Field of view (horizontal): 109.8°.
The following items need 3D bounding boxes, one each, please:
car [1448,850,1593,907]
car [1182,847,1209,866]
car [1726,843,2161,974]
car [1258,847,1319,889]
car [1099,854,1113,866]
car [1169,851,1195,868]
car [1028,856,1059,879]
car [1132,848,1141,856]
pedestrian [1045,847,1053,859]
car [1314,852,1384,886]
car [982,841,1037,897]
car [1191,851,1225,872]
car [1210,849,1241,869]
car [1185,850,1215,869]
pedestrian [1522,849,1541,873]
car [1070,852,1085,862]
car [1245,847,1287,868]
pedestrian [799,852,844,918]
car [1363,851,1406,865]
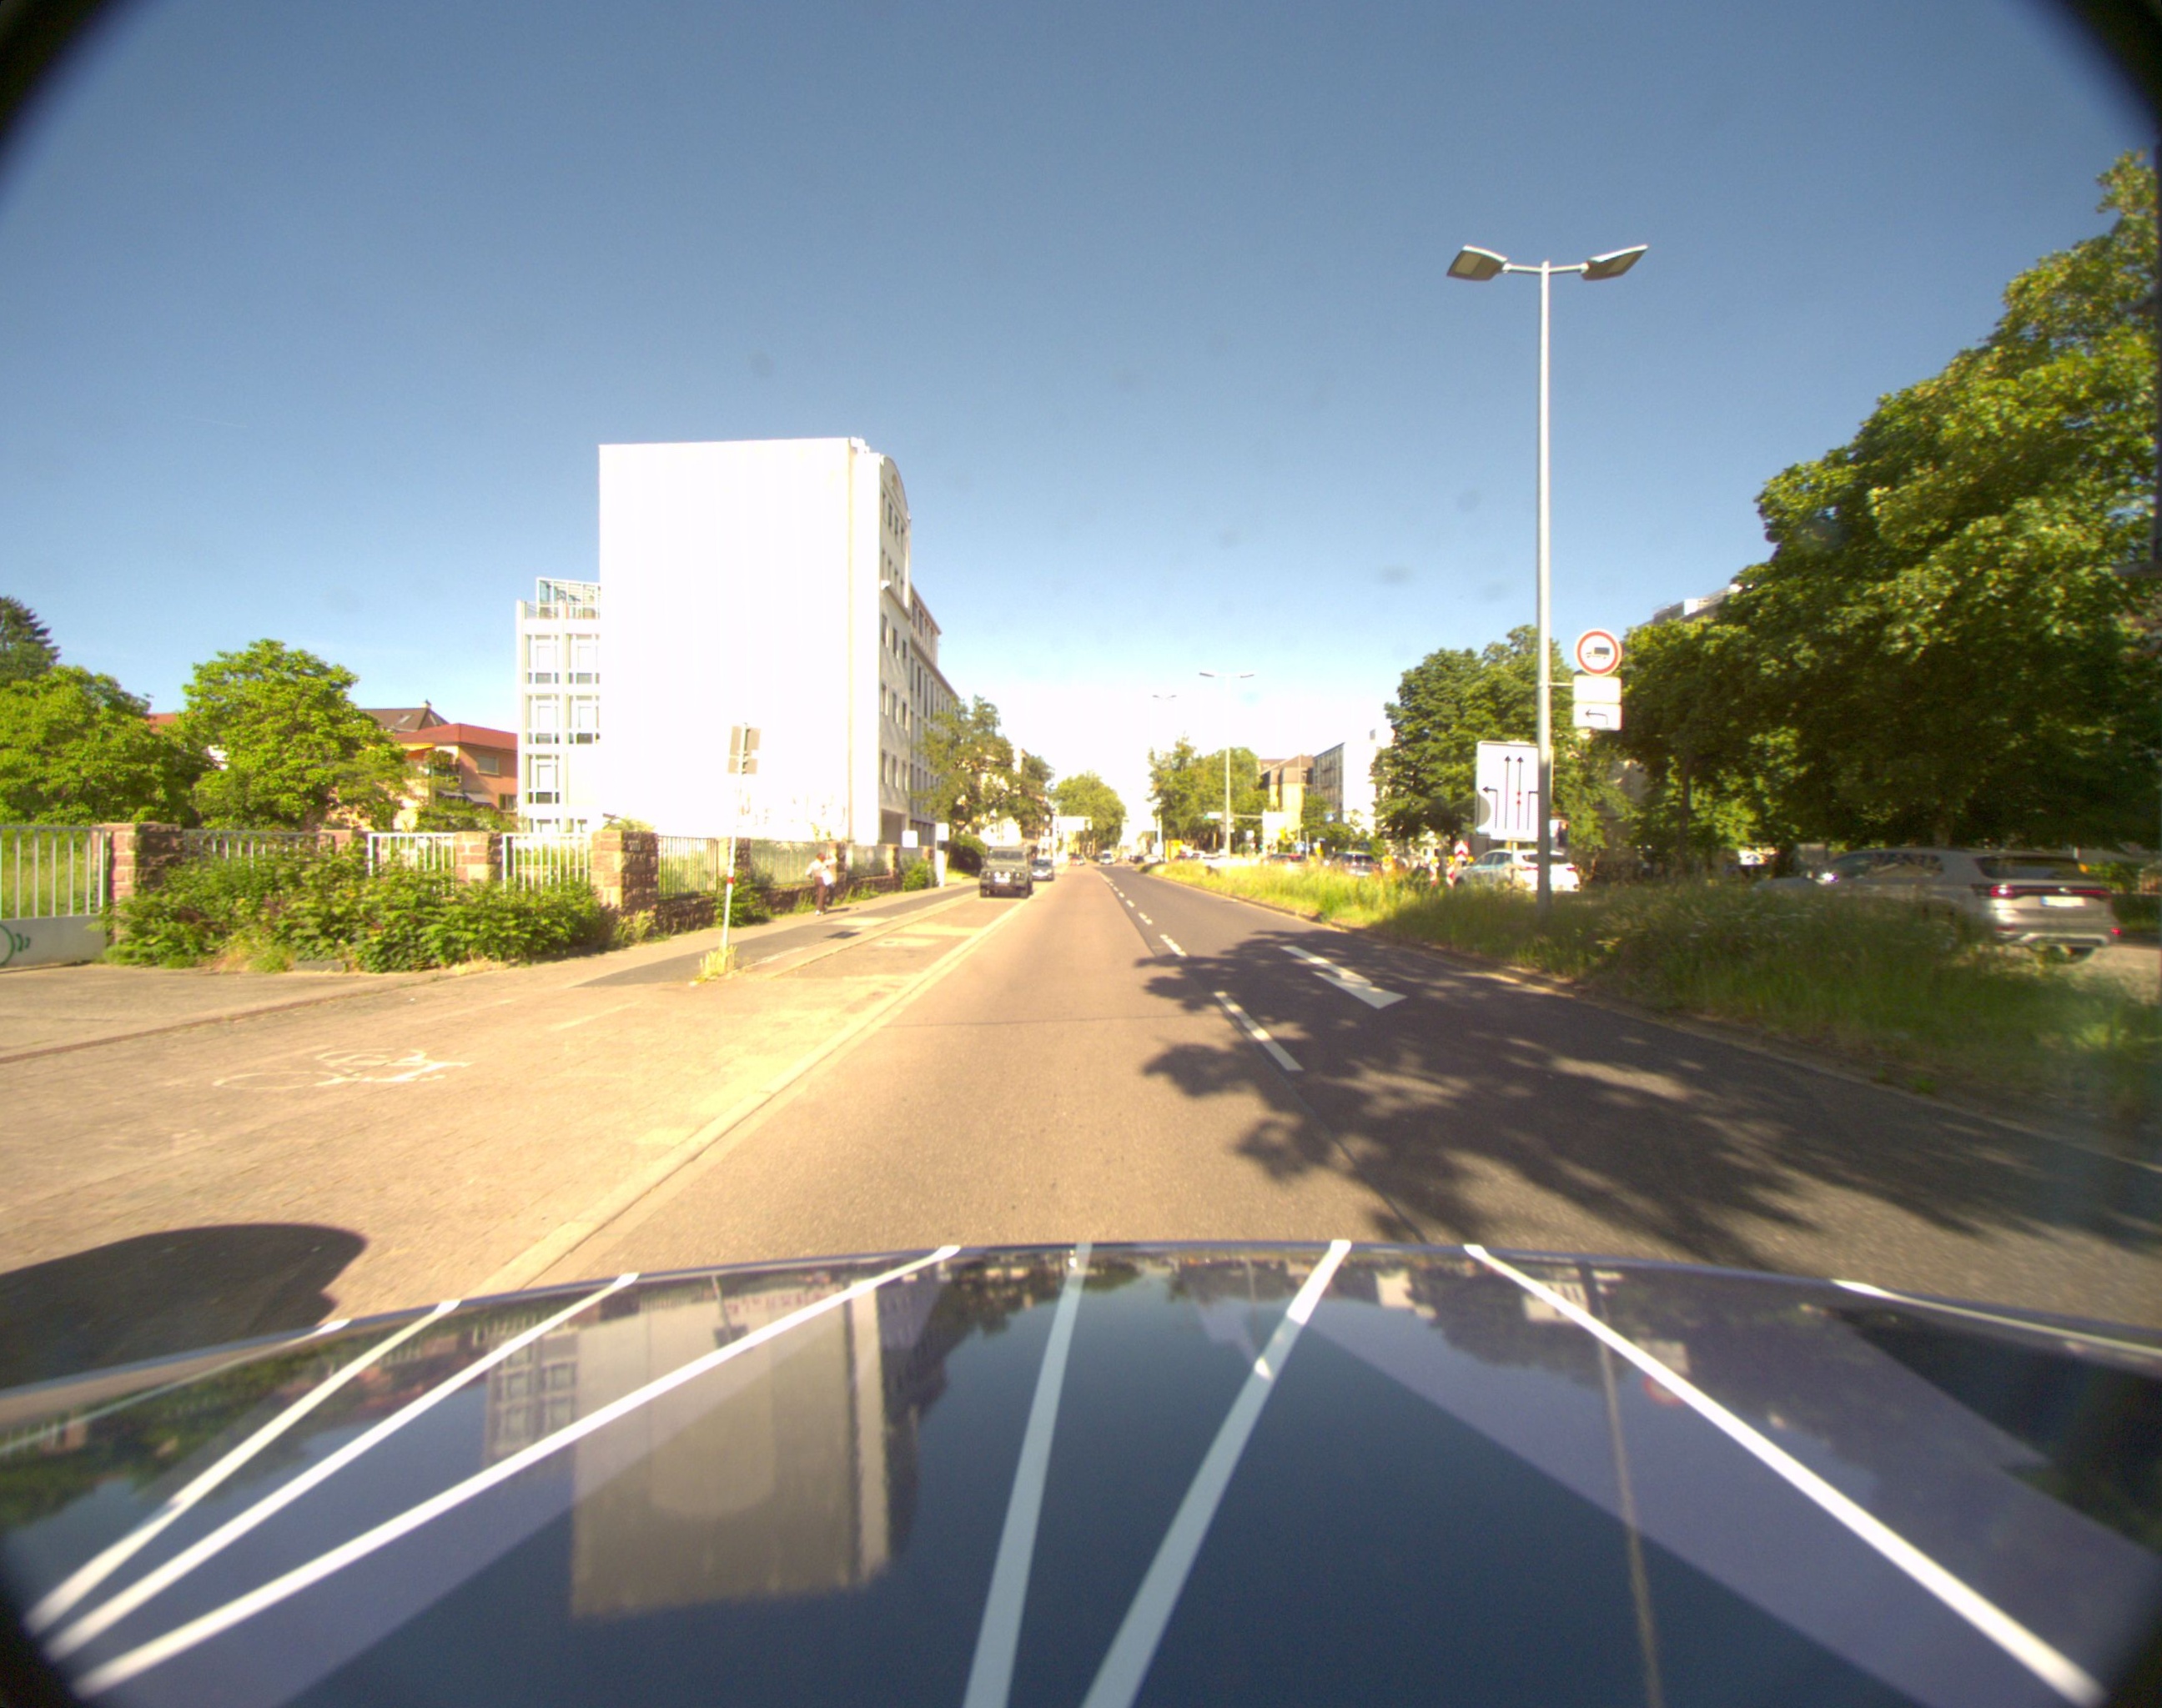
[{"bbox_3d":[12.769,0.634,22.435,1.800,1.510,4.257,0,1,0],"label":"car"},{"bbox_3d":[12.598,0.281,84.169,2.239,2.016,5.016,0,1,0],"label":"car"},{"bbox_3d":[12.515,0.650,11.574,1.800,1.510,4.257,-1,2,1],"label":"car"},{"bbox_3d":[9.665,0.590,35.698,1.757,1.609,4.321,-1,3,1],"label":"car"},{"bbox_3d":[4.008,0.959,120.508,1.882,1.511,4.000,-1,3,8],"label":"car"},{"bbox_3d":[9.457,0.486,71.253,1.800,1.510,4.346,-1,1,0],"label":"car"},{"bbox_3d":[-2.478,0.907,50.506,1.641,1.439,4.157,0,-1,3],"label":"car"},{"bbox_3d":[12.420,-0.456,170.494,1.861,1.576,4.278,0,1,2],"label":"car"},{"bbox_3d":[-4.445,-0.112,106.109,0.788,1.599,0.927,-4,4,-34],"label":"pedestrian"},{"bbox_3d":[12.680,0.664,36.232,1.800,1.510,4.444,0,1,0],"label":"car"},{"bbox_3d":[-2.732,0.521,29.971,1.664,2.002,4.775,1,1,1],"label":"car"},{"bbox_3d":[9.552,0.512,57.396,1.800,1.510,4.204,0,1,0],"label":"car"},{"bbox_3d":[13.033,0.453,68.854,1.800,1.733,5.031,0,1,0],"label":"car"},{"bbox_3d":[10.008,0.442,64.249,1.800,1.510,4.363,-1,0,0],"label":"car"},{"bbox_3d":[29.821,0.462,50.280,0.742,1.527,0.781,0,1,-5],"label":"pedestrian"},{"bbox_3d":[-0.522,0.494,118.066,1.882,1.510,4.002,-1,1,8],"label":"car"},{"bbox_3d":[12.595,0.234,52.007,1.800,1.344,4.257,0,1,0],"label":"car"},{"bbox_3d":[-6.394,0.751,18.760,0.745,1.574,0.897,2,1,1],"label":"pedestrian"},{"bbox_3d":[38.397,0.461,96.134,4.704,1.609,1.919,-1,4,9],"label":"car"}]
